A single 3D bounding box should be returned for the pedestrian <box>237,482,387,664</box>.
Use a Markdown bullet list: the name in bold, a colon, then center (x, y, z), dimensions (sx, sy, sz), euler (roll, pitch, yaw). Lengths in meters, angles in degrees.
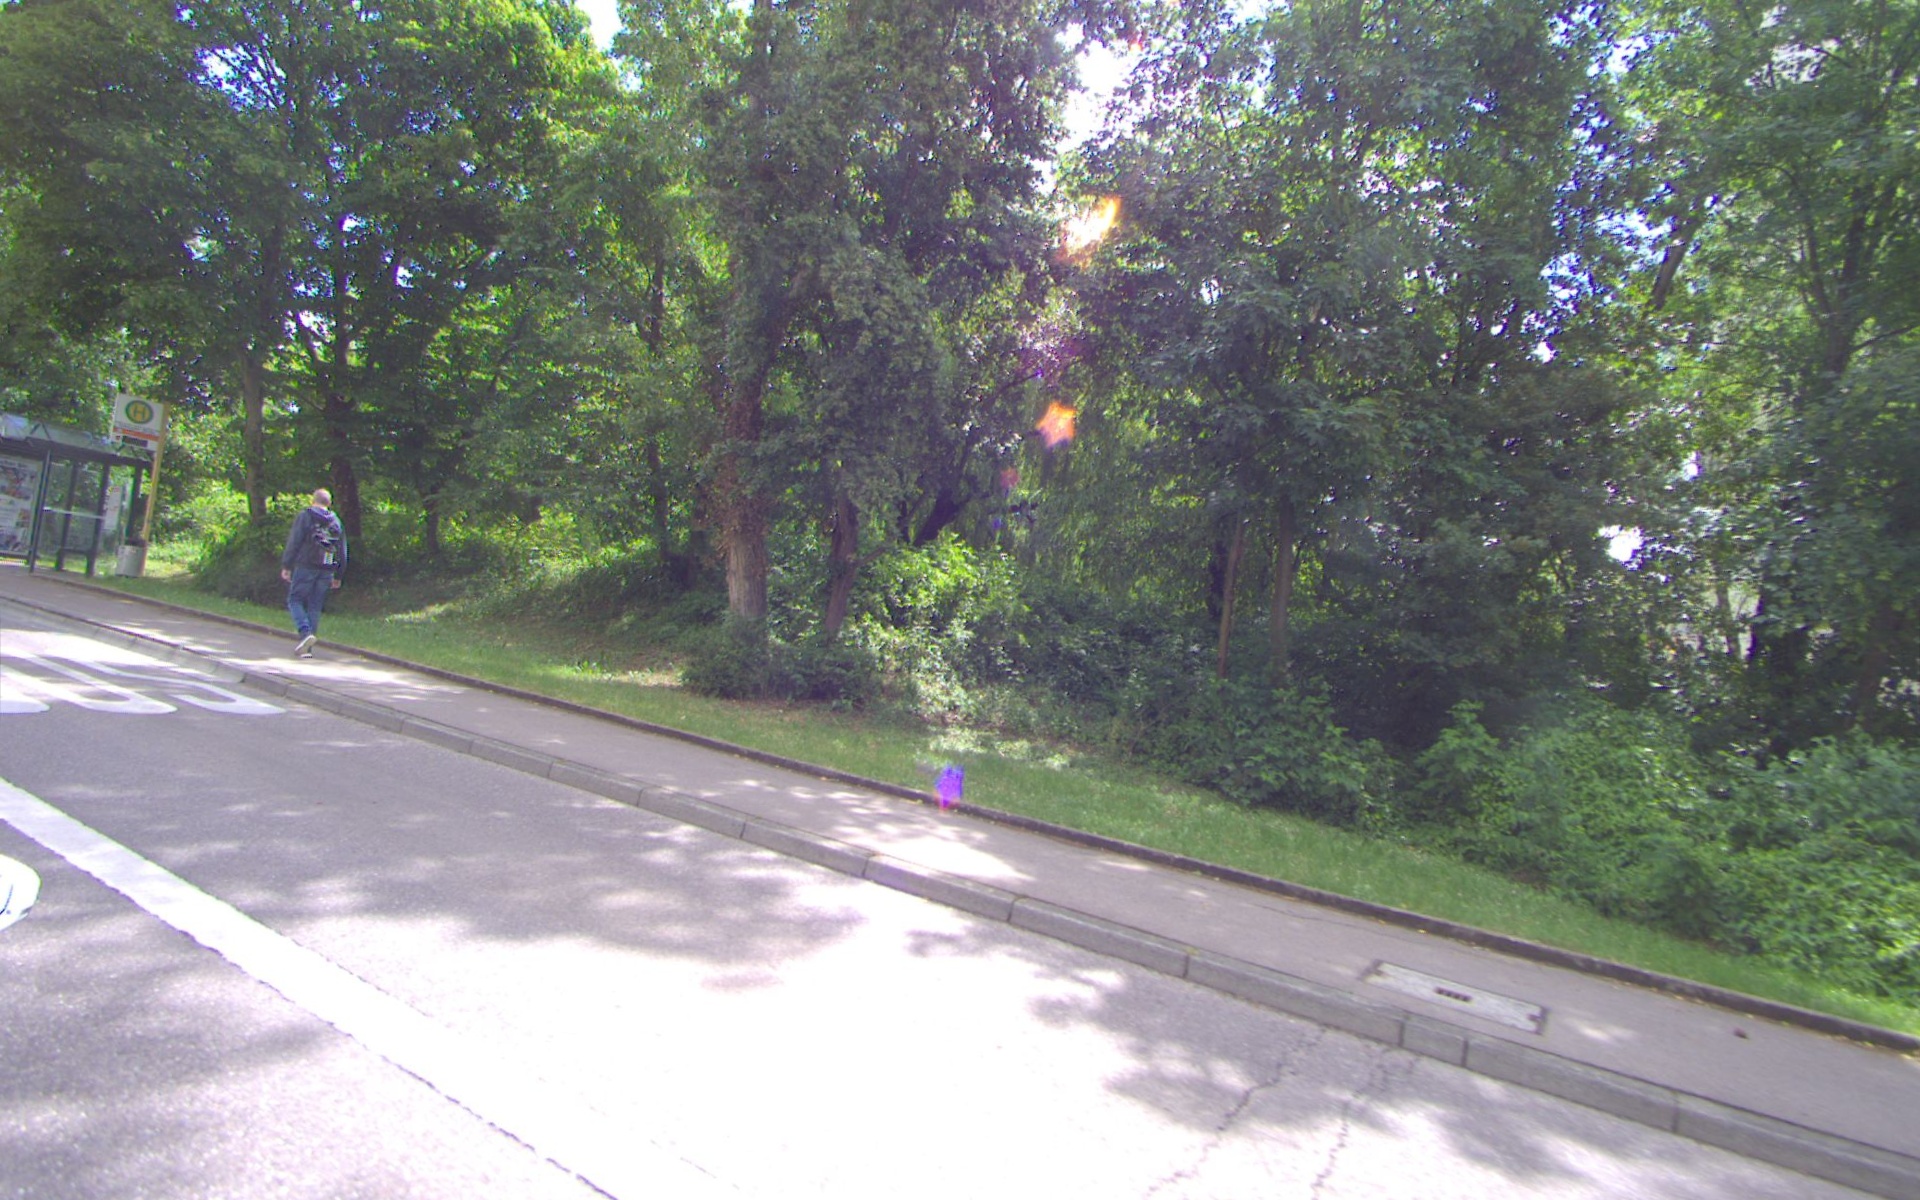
- **pedestrian**: center (-7.508, -0.309, 11.656), dimensions (1.249, 1.917, 0.802), euler (7, -1, 32)
